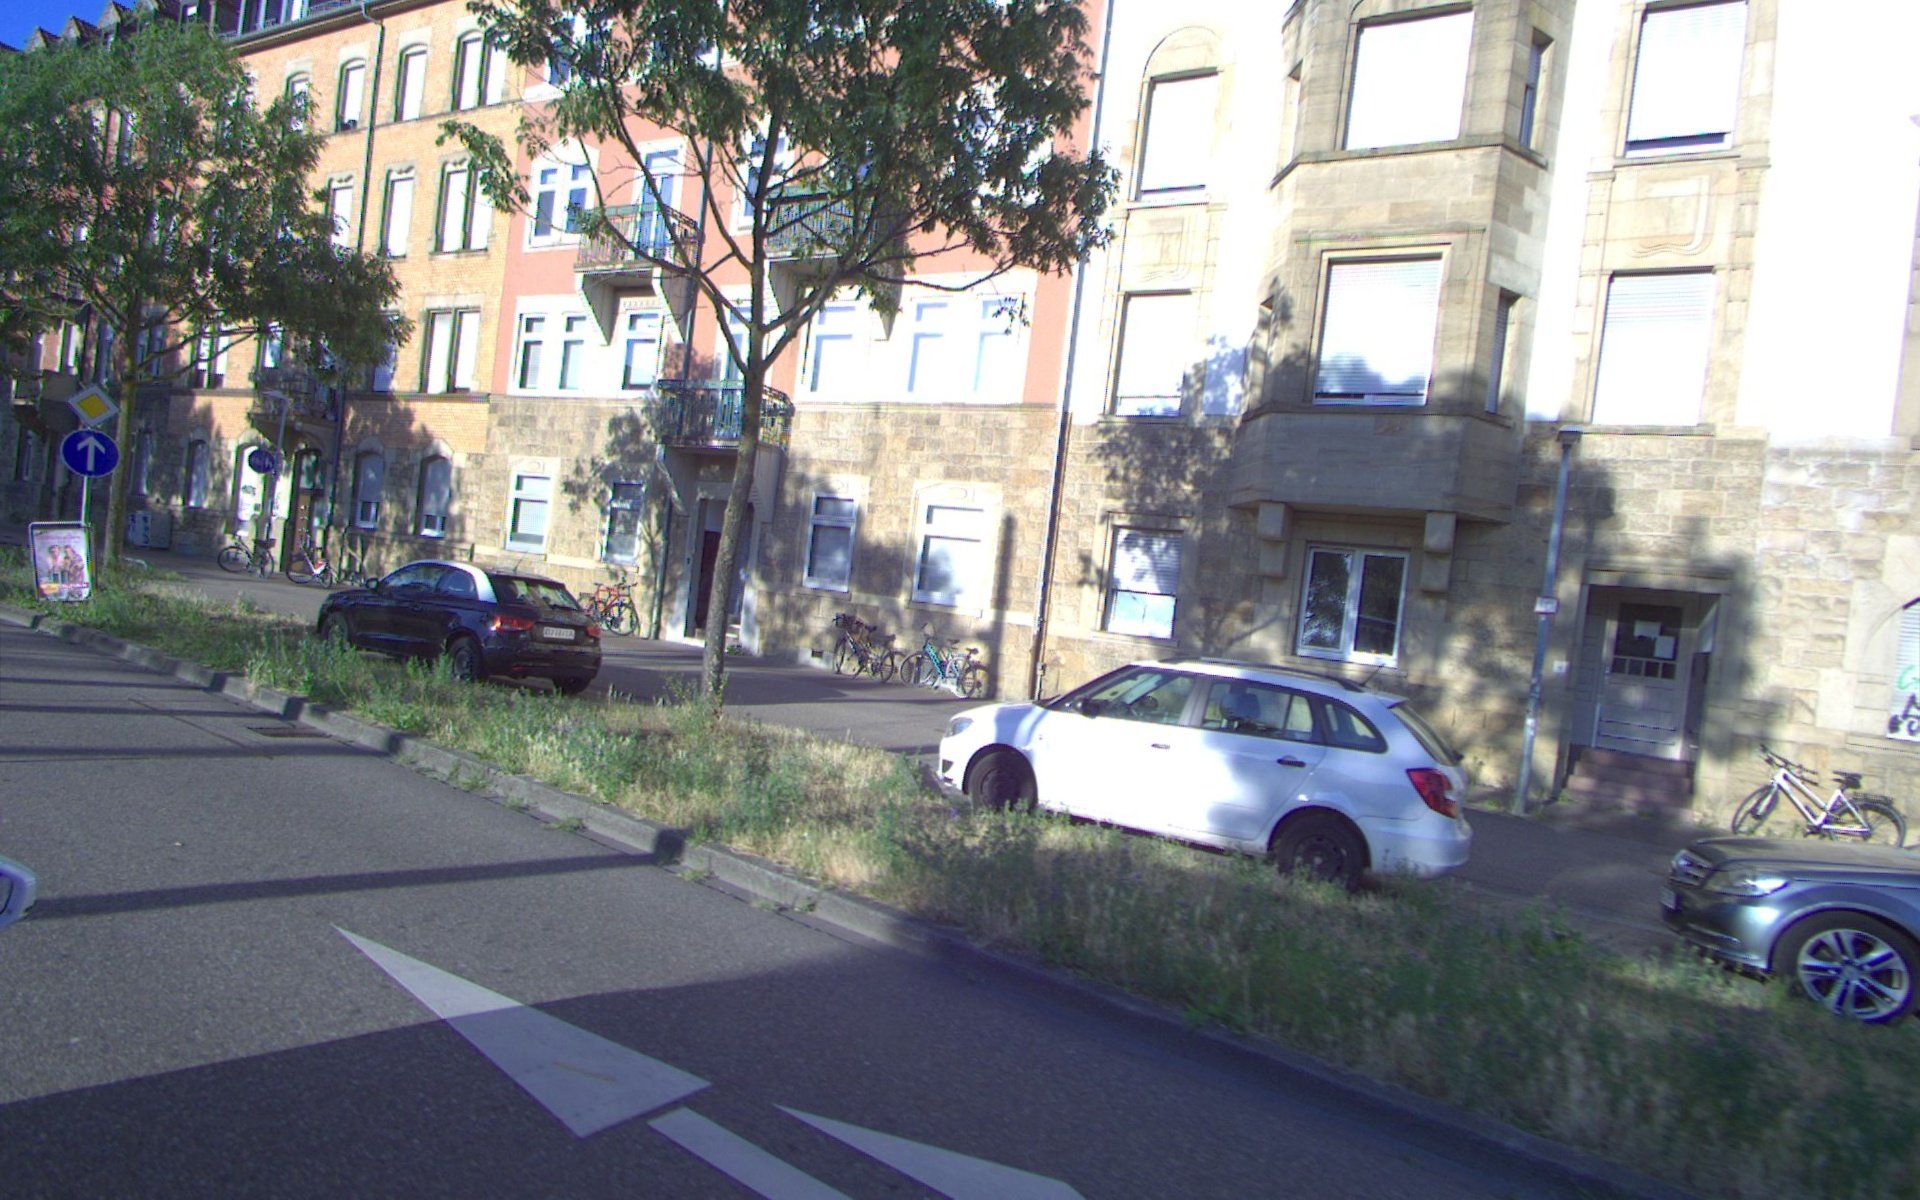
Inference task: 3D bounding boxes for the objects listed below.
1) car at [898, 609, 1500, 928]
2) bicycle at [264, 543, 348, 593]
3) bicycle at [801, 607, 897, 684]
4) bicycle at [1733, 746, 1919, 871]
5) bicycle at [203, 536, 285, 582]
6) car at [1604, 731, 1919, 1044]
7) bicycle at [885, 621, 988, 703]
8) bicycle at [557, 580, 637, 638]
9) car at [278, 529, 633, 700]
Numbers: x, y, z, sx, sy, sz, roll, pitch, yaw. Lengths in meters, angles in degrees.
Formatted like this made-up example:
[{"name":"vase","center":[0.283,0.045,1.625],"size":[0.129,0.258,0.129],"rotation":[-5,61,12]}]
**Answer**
[{"name":"car","center":[1.828,1.163,8.046],"size":[4.198,1.528,1.732],"rotation":[7,-3,28]},{"name":"bicycle","center":[-15.683,-0.776,24.117],"size":[2.300,0.960,0.734],"rotation":[7,1,32]},{"name":"bicycle","center":[-2.050,0.813,18.464],"size":[1.716,1.182,0.483],"rotation":[7,6,29]},{"name":"bicycle","center":[10.359,2.440,11.813],"size":[1.864,1.087,0.573],"rotation":[7,1,28]},{"name":"bicycle","center":[-17.941,-1.033,25.194],"size":[2.049,0.928,0.873],"rotation":[7,2,30]},{"name":"car","center":[6.660,1.863,5.649],"size":[4.823,1.460,1.952],"rotation":[7,-3,28]},{"name":"bicycle","center":[-0.425,1.058,17.570],"size":[1.716,1.182,0.483],"rotation":[7,6,29]},{"name":"bicycle","center":[-7.767,0.189,21.506],"size":[1.716,1.018,0.484],"rotation":[7,0,29]},{"name":"car","center":[-6.294,0.155,12.467],"size":[4.215,1.464,1.709],"rotation":[7,-3,29]}]
